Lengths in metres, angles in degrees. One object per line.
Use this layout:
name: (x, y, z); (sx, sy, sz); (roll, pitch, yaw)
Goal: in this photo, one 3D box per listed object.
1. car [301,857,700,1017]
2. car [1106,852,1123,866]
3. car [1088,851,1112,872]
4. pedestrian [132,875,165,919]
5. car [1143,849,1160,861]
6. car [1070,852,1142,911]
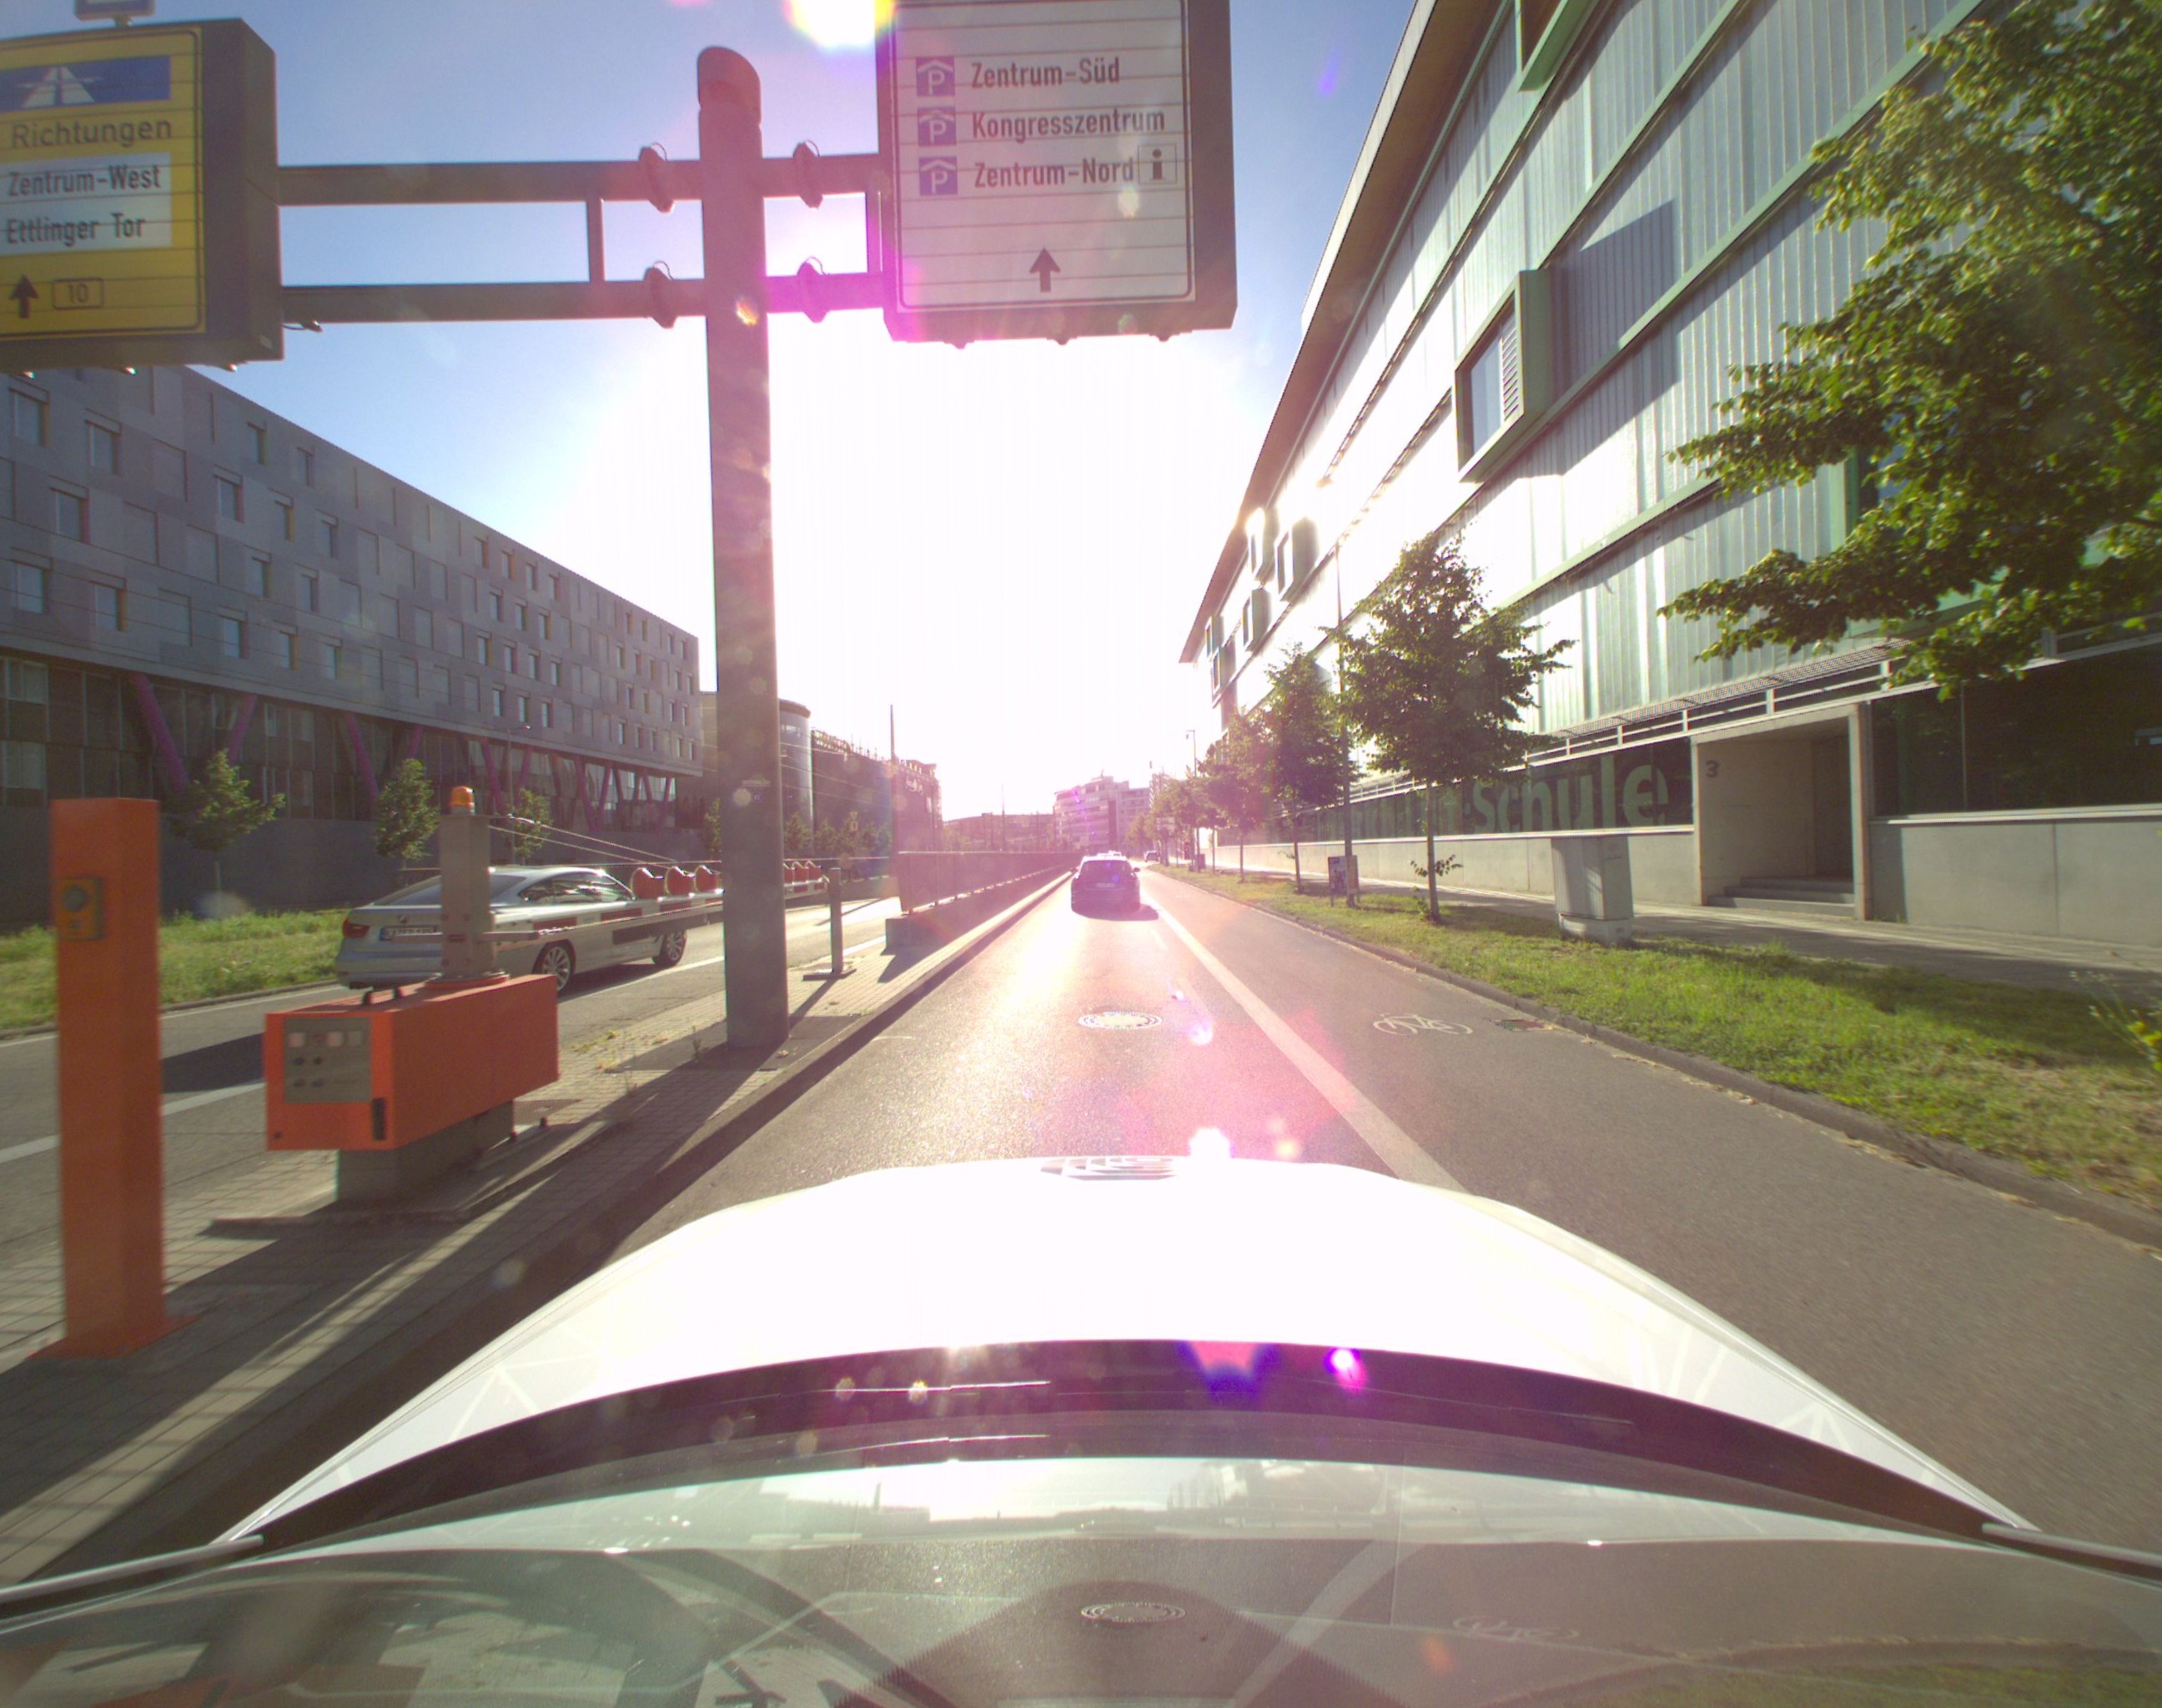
car: (-6.885, 0.823, 10.519); (1.794, 1.527, 4.906); (0, 0, -3)
car: (3.982, 0.590, 97.548); (1.987, 1.465, 4.001); (-1, 1, 1)
car: (1.549, 0.591, 65.158); (1.846, 1.546, 4.001); (0, 1, 1)
pedestrian: (-43.981, 2.031, 38.416); (0.733, 2.013, 0.690); (-2, 0, 2)
car: (9.679, 0.158, 112.315); (1.846, 1.481, 4.855); (-3, 0, 1)
car: (0.687, 0.709, 23.199); (1.806, 1.427, 4.690); (-2, 0, 1)
